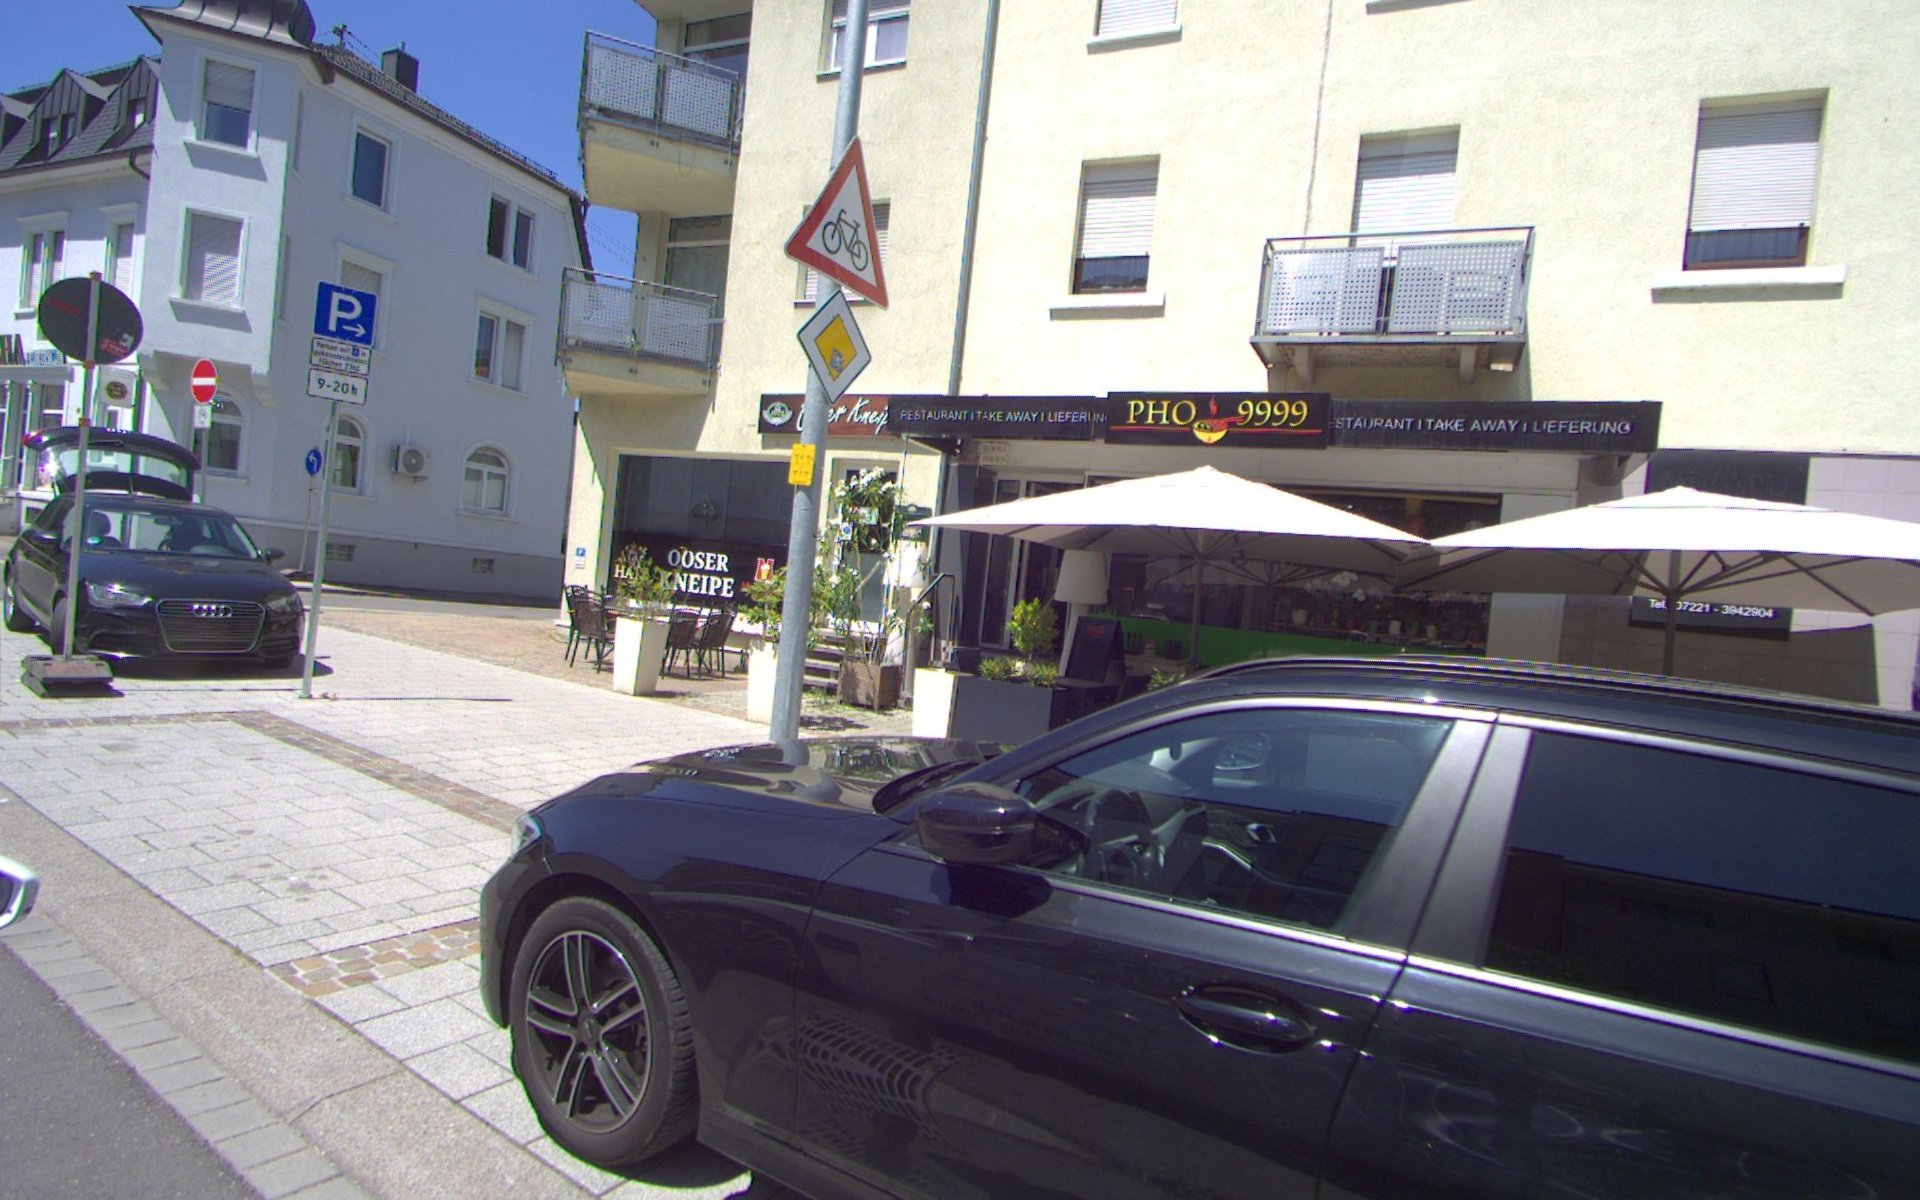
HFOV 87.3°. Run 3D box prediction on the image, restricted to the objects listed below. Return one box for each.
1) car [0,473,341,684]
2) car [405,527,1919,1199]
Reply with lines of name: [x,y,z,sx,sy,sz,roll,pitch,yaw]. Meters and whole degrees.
car: [-7.612,-0.261,9.536,3.806,1.511,1.868,8,3,41]
car: [0.975,0.807,2.270,4.531,1.422,1.727,7,-1,30]
